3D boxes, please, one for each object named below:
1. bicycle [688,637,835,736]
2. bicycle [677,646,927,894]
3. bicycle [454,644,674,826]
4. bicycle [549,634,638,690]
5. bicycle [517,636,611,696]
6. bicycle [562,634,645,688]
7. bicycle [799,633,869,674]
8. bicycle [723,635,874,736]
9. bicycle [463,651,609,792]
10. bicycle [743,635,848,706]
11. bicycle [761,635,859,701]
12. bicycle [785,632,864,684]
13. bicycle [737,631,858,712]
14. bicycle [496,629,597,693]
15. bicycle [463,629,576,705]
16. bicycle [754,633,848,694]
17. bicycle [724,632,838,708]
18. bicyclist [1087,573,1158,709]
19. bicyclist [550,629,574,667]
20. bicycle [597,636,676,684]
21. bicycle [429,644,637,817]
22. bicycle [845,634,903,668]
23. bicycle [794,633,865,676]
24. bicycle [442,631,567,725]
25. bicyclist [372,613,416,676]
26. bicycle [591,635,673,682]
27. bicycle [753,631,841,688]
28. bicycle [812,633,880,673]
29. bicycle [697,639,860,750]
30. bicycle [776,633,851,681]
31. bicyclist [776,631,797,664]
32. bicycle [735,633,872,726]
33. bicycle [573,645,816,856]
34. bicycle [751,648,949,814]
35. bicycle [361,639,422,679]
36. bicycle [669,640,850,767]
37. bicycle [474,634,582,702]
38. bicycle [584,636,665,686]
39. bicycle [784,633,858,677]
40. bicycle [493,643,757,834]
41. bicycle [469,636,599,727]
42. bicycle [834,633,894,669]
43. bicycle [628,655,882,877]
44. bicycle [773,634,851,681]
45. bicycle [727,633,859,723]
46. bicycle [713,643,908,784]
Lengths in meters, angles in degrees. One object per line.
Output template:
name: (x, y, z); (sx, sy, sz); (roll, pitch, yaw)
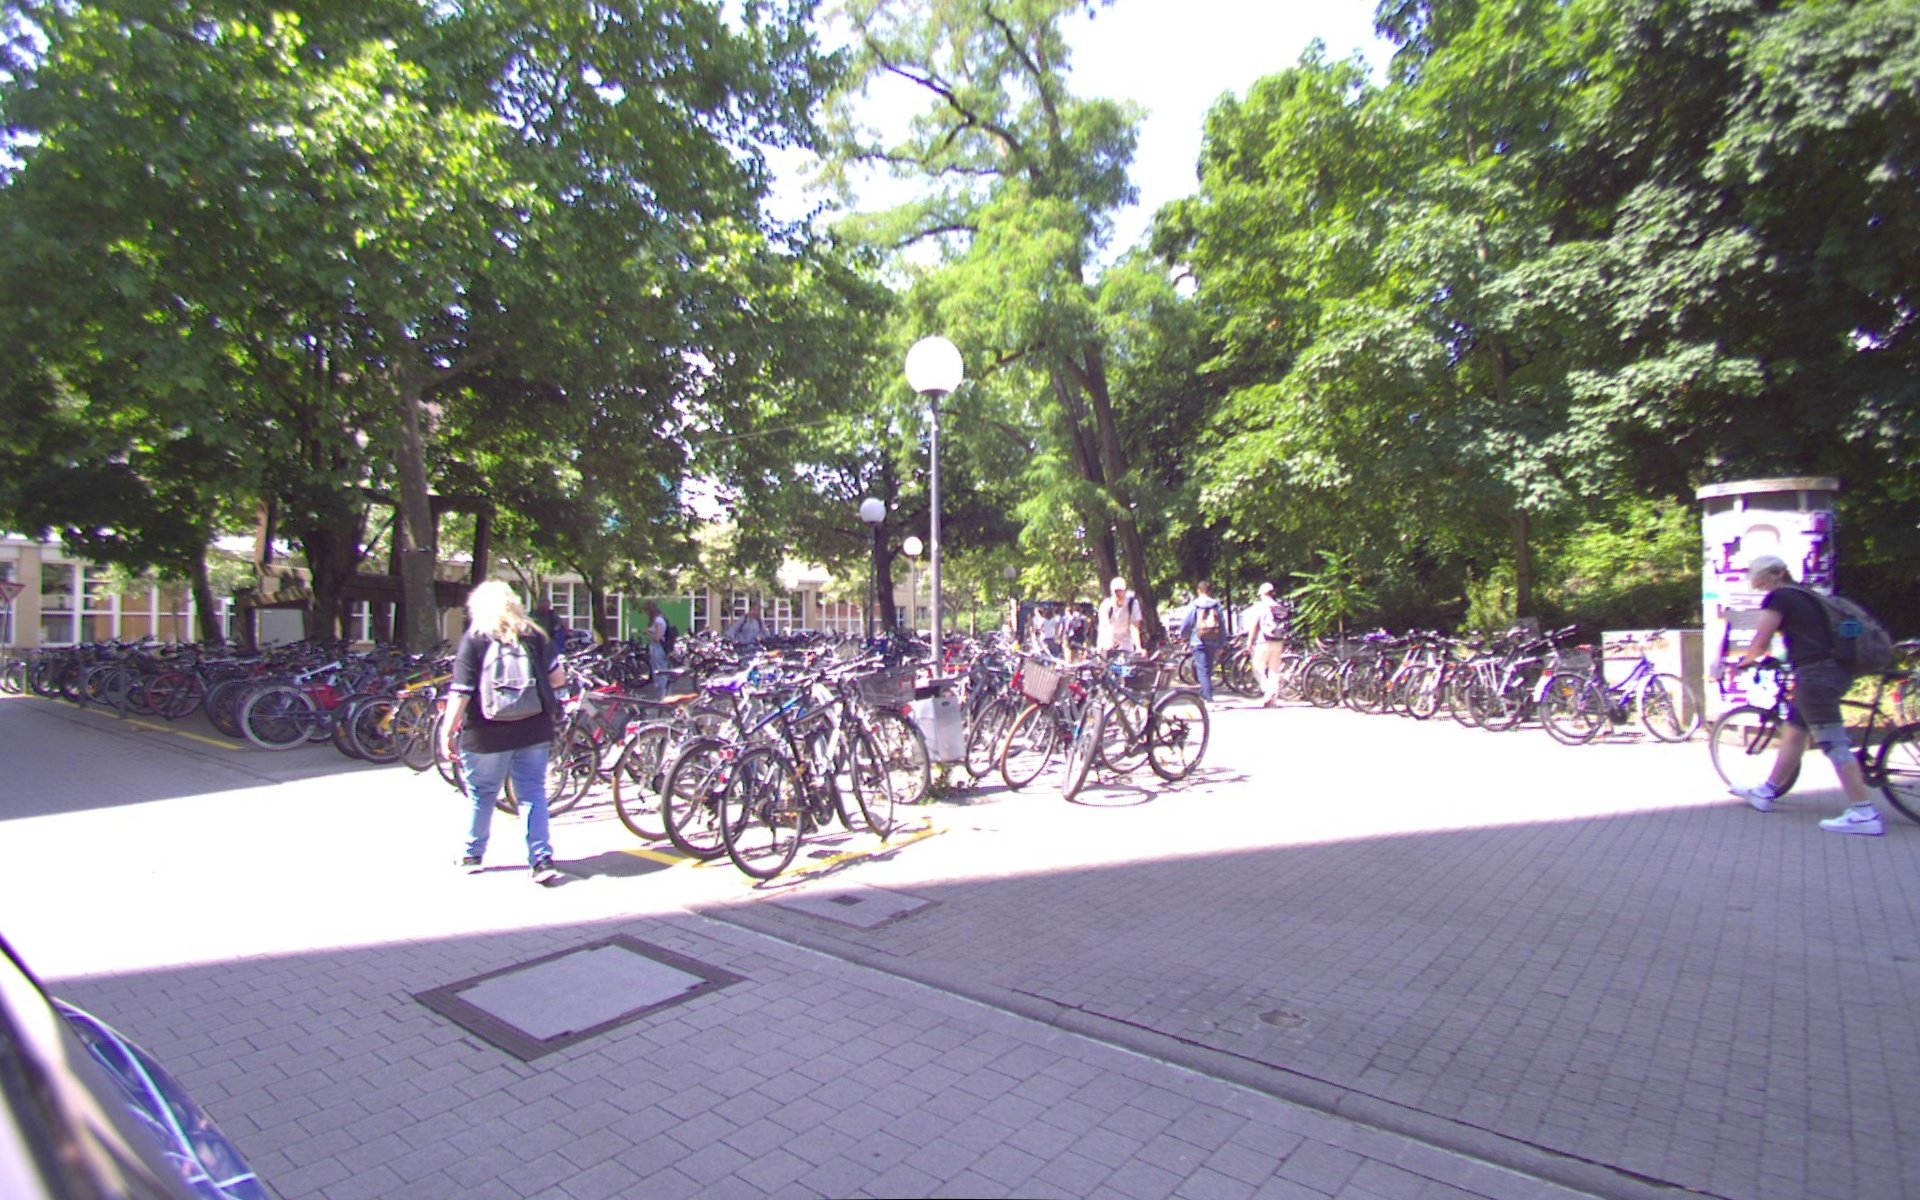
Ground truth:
bicycle: (-2.389, 1.021, 12.179); (1.670, 1.092, 0.475); (-1, -1, -19)
bicycle: (-0.848, 0.888, 5.906); (0.472, 1.168, 1.682); (-1, -1, 31)
bicycle: (-2.957, 0.954, 7.734); (0.472, 1.177, 1.684); (-1, -1, 27)
bicycle: (-7.651, 1.289, 21.193); (1.672, 1.116, 0.633); (-1, -1, -10)
bicycle: (-7.816, 1.300, 20.019); (1.672, 1.116, 0.504); (-1, -1, -10)
bicycle: (-7.877, 1.341, 22.388); (1.672, 1.116, 0.504); (-1, -1, -10)
bicycle: (-3.411, 1.451, 27.505); (1.834, 1.092, 0.474); (-1, -1, 3)
bicycle: (-1.889, 0.975, 11.825); (1.670, 1.092, 0.475); (-1, -1, -19)
bicycle: (-3.734, 1.028, 9.046); (0.468, 1.070, 1.697); (-1, -1, 5)
bicycle: (-2.680, 1.146, 16.606); (1.673, 1.092, 0.475); (-1, -1, -5)
bicycle: (-2.637, 1.188, 17.845); (1.673, 1.092, 0.475); (-1, -1, -5)
bicycle: (-3.012, 1.286, 22.519); (1.677, 1.092, 0.474); (-1, -1, 3)
bicycle: (-2.329, 1.005, 14.492); (1.671, 1.092, 0.475); (-1, -1, -14)
bicycle: (-7.639, 1.123, 18.740); (1.671, 1.116, 0.504); (-1, -1, -14)
bicycle: (-7.447, 1.116, 17.173); (1.671, 1.209, 0.577); (-1, -1, -14)
bicycle: (-2.986, 1.192, 19.060); (1.677, 1.092, 0.474); (-1, -1, 3)
bicycle: (-2.745, 1.060, 15.529); (1.671, 1.092, 0.475); (-1, -1, -14)
bicyclist: (1.939, 0.480, 12.145); (0.586, 1.580, 0.723); (-1, -1, -11)
bicyclist: (-16.569, 2.003, 42.172); (0.605, 1.546, 0.717); (0, -1, 42)
bicycle: (-7.828, 1.456, 24.496); (1.756, 1.116, 0.502); (-1, -1, 3)
bicycle: (-3.353, 0.969, 8.105); (0.471, 1.177, 1.686); (-1, -1, 23)
bicycle: (-2.824, 1.670, 33.149); (1.834, 1.092, 0.474); (-1, -1, 3)
bicycle: (-3.473, 1.441, 26.980); (1.834, 1.092, 0.474); (-1, -1, 3)
bicycle: (-6.497, 1.080, 14.521); (0.500, 1.229, 1.683); (-1, -1, 28)
bicyclist: (-18.099, 1.406, 32.383); (0.795, 1.905, 0.867); (0, 4, 3)
bicycle: (-8.125, 1.452, 25.081); (1.881, 1.116, 0.502); (-1, -1, 3)
bicycle: (-3.256, 1.178, 20.253); (1.677, 1.092, 0.474); (-1, -1, 3)
bicycle: (-3.206, 1.500, 28.550); (1.834, 1.092, 0.474); (-1, -1, 3)
bicycle: (-1.951, 0.988, 10.849); (1.671, 1.092, 0.475); (-1, -1, -15)
bicycle: (-3.413, 1.328, 23.640); (1.677, 1.092, 0.474); (-1, -1, 3)
bicyclist: (-8.669, 2.366, 50.579); (0.639, 1.585, 0.864); (0, -2, 36)
bicycle: (-1.989, 0.992, 12.875); (1.671, 1.092, 0.475); (-1, -1, -14)
bicycle: (-1.713, 0.922, 6.789); (0.473, 1.177, 1.680); (-1, -1, 34)
bicycle: (-0.873, 0.929, 7.677); (1.700, 1.092, 0.501); (-2, -1, 43)
bicycle: (-18.111, 1.871, 32.277); (0.795, 1.181, 1.884); (-1, -1, 4)
bicycle: (-1.923, 0.962, 9.841); (1.672, 1.092, 0.475); (0, -1, -37)
bicycle: (-7.565, 1.176, 17.783); (1.671, 1.116, 0.504); (-1, -1, -14)
bicycle: (-7.875, 1.426, 23.774); (1.756, 1.116, 0.502); (-1, -1, 3)
bicycle: (-3.586, 1.427, 26.119); (1.834, 1.092, 0.474); (-1, -1, 3)
bicycle: (-2.379, 0.934, 7.320); (1.752, 1.177, 0.475); (0, -1, -37)
bicycle: (-5.754, 1.069, 13.760); (0.500, 1.116, 1.683); (-1, -1, 28)
bicycle: (-3.026, 1.592, 31.860); (1.834, 1.092, 0.474); (-1, -1, 3)
bicycle: (-1.191, 0.932, 6.226); (0.473, 1.099, 1.680); (-1, -1, 34)
bicycle: (-3.636, 1.407, 24.853); (1.834, 1.092, 0.474); (-1, -1, 3)
bicycle: (-2.198, 1.007, 13.316); (1.671, 1.092, 0.475); (-1, -1, -14)
bicycle: (-1.286, 0.950, 8.928); (1.672, 1.092, 0.475); (0, -1, -38)
